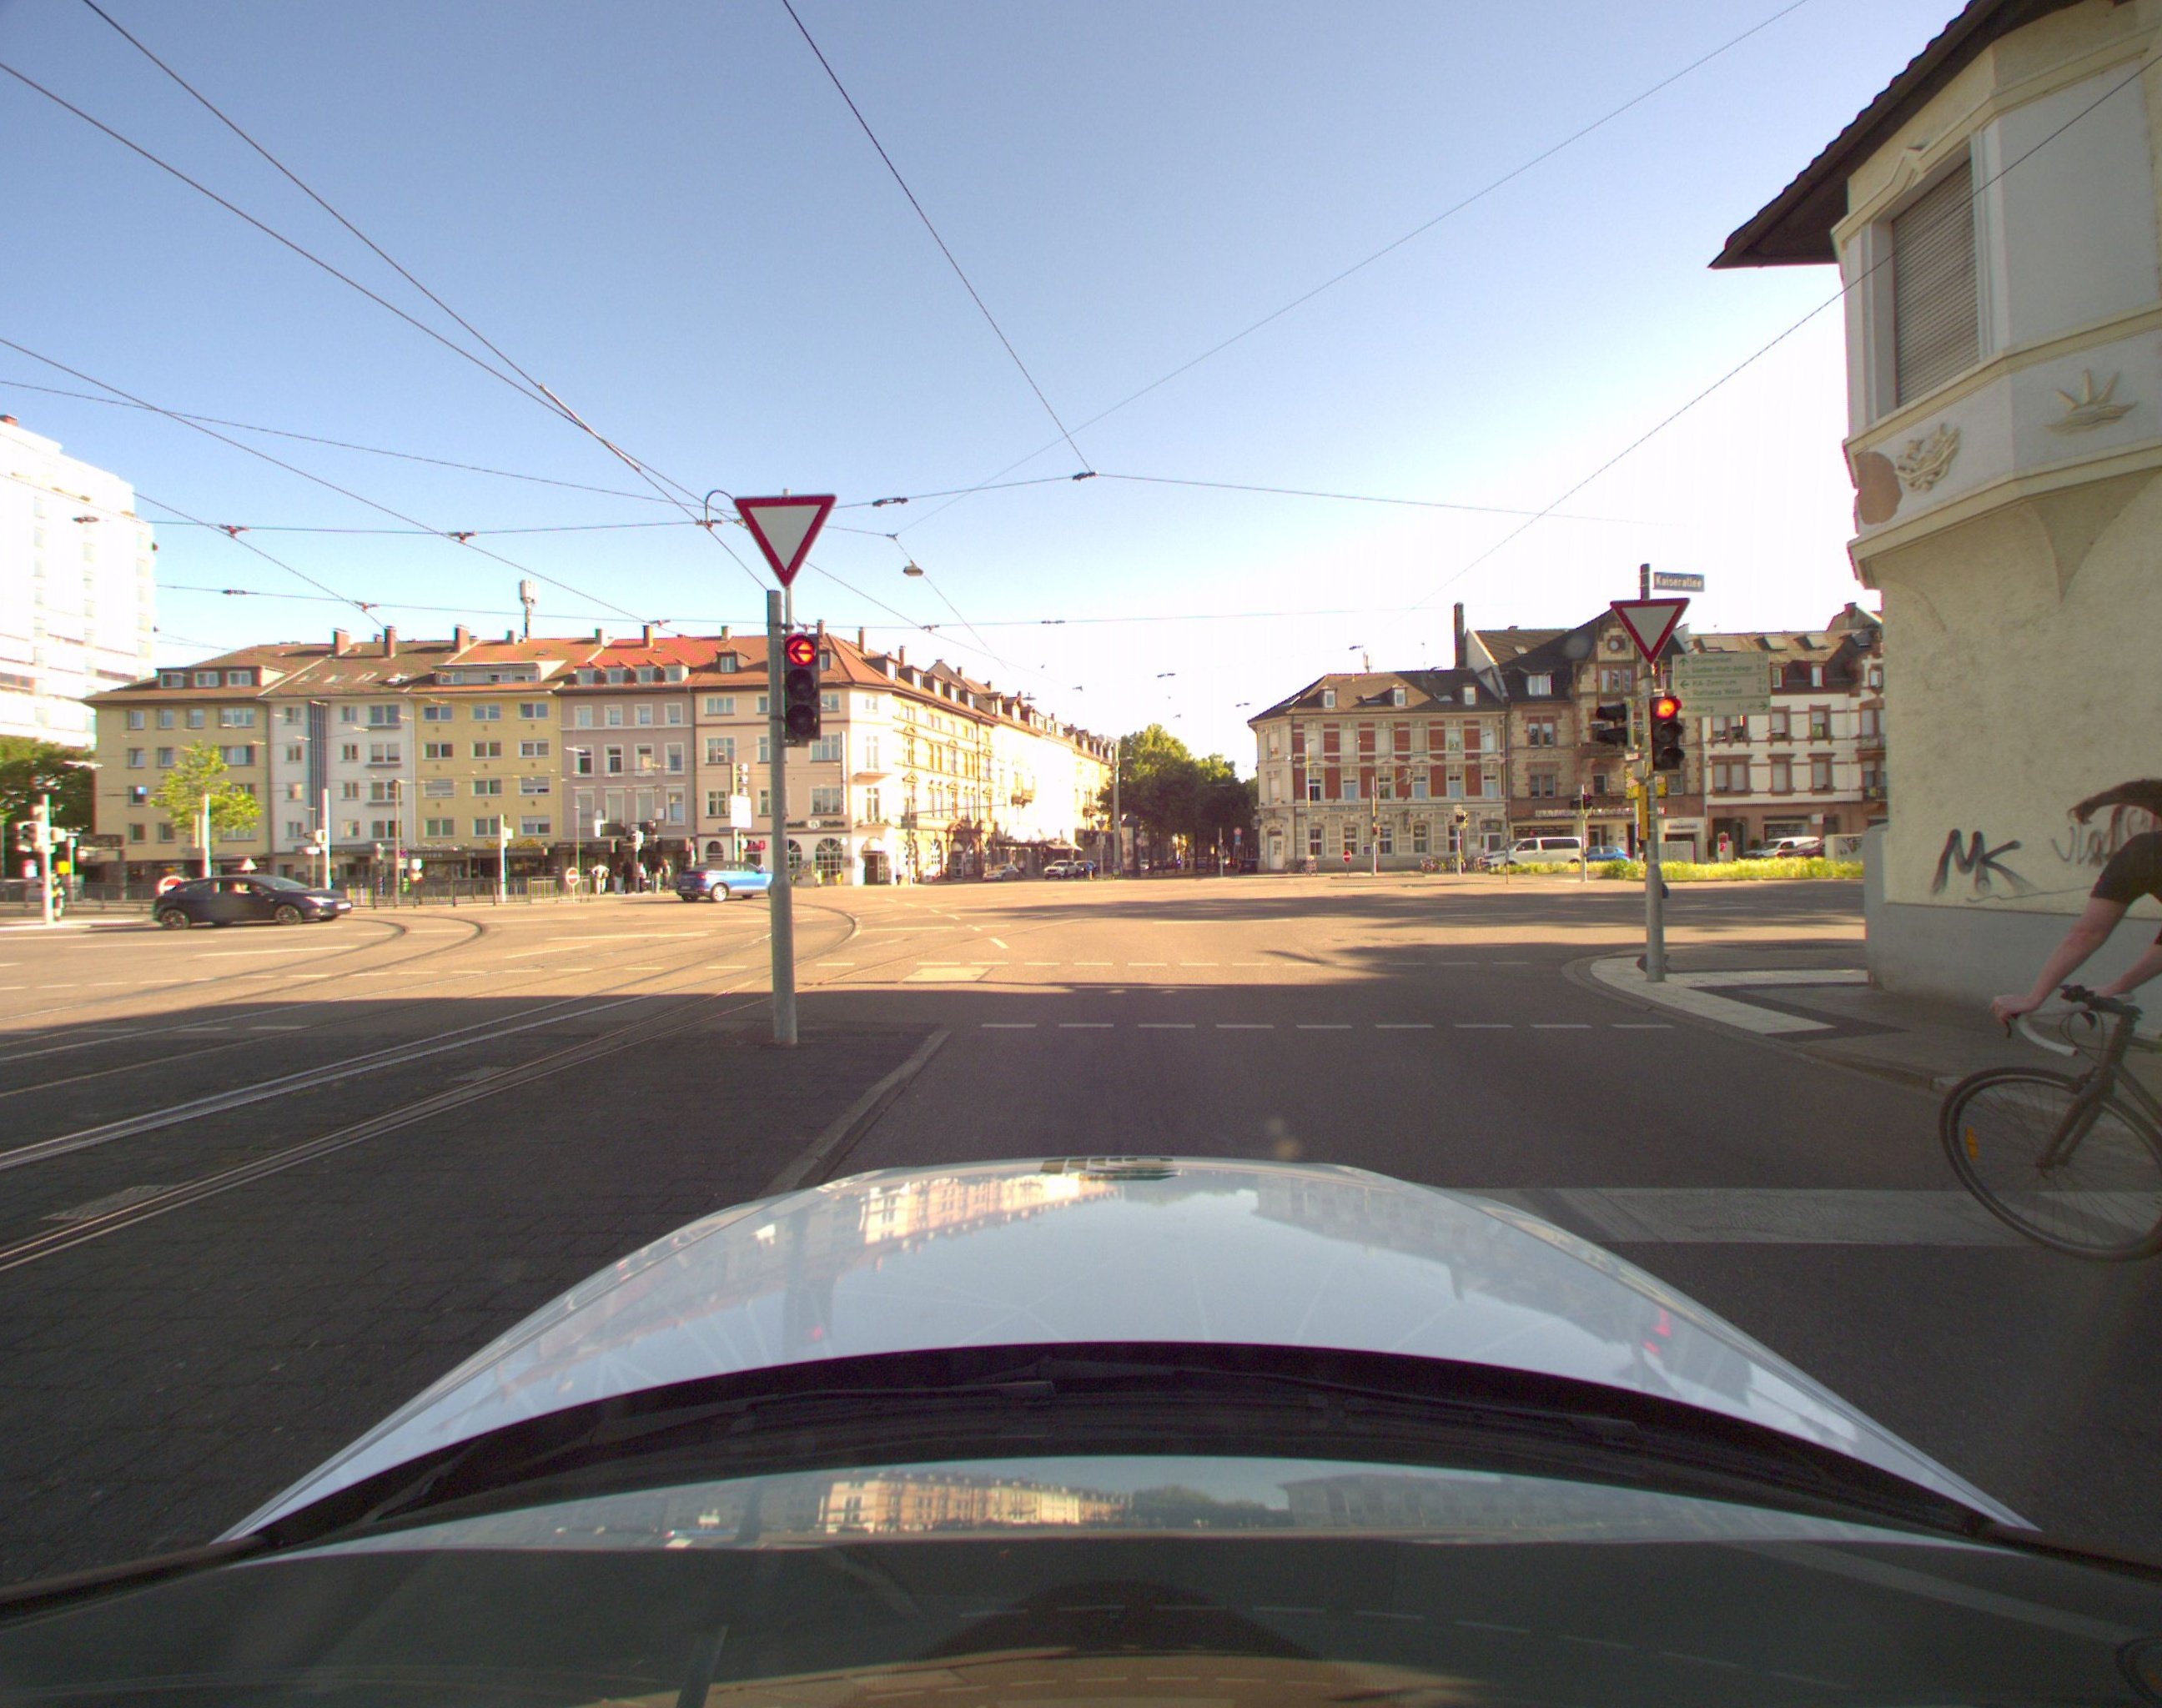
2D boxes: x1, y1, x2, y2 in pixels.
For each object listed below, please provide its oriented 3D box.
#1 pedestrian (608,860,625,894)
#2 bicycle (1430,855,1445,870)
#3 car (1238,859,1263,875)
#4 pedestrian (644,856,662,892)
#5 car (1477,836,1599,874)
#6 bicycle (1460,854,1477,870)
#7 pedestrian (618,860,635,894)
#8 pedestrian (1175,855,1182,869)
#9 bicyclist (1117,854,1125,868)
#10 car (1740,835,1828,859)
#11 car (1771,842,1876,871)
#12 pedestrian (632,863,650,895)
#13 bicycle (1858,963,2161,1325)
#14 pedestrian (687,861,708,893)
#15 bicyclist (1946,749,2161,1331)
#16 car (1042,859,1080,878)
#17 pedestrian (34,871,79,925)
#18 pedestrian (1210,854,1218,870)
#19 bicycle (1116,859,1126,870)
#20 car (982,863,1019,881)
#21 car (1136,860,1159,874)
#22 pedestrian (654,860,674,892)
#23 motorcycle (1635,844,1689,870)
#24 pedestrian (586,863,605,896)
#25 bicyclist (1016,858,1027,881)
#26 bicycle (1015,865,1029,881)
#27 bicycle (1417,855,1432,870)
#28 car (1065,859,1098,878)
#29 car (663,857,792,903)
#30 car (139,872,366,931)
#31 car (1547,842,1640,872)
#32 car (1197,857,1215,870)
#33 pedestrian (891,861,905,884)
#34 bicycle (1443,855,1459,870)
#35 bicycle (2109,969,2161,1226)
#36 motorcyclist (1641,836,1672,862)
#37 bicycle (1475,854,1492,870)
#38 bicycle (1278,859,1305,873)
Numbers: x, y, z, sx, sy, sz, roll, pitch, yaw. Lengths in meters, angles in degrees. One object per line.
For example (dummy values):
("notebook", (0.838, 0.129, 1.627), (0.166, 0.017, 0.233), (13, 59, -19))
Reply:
("pedestrian", (-23.188, 1.145, 40.667), (0.520, 1.648, 0.498), (0, -1, 1))
("bicycle", (23.256, 0.570, 53.090), (0.758, 0.968, 2.221), (-1, -1, 20))
("car", (17.122, 1.255, 82.236), (1.741, 1.556, 4.021), (-1, -1, 22))
("pedestrian", (-21.586, 0.992, 41.057), (0.525, 1.823, 0.677), (0, -1, 1))
("car", (23.487, 0.047, 41.985), (5.180, 1.854, 2.000), (-1, 0, 1))
("bicycle", (25.157, 0.542, 52.878), (0.758, 1.007, 2.231), (-1, -1, 20))
("pedestrian", (-22.577, 1.139, 40.461), (0.520, 1.648, 0.498), (0, -1, 1))
("pedestrian", (14.111, 1.210, 117.764), (0.936, 2.014, 0.830), (-1, -1, 16))
("bicyclist", (4.707, 0.844, 95.725), (0.668, 1.568, 0.751), (-1, -1, 20))
("car", (45.180, -0.441, 52.432), (3.961, 1.438, 1.874), (0, -1, 5))
("car", (37.850, 0.116, 41.556), (3.854, 1.426, 1.596), (-1, 0, 2))
("pedestrian", (-22.882, 1.301, 42.362), (0.571, 1.648, 0.727), (0, -1, 1))
("bicycle", (3.580, 0.960, 2.624), (0.480, 0.991, 1.783), (0, -1, 2))
("pedestrian", (-19.832, 1.177, 42.091), (0.666, 1.594, 0.815), (0, -1, 1))
("bicyclist", (3.576, 0.566, 2.614), (0.587, 1.767, 0.936), (0, -1, 2))
("car", (-1.606, 1.179, 67.452), (1.788, 1.585, 4.179), (-1, -1, 19))
("pedestrian", (-31.527, 1.332, 25.067), (0.770, 1.609, 0.605), (0, -1, -44))
("pedestrian", (16.662, 1.033, 102.105), (0.957, 2.014, 0.919), (0, -1, 3))
("bicycle", (4.710, 1.231, 95.718), (0.668, 1.207, 1.831), (-1, -1, 20))
("car", (-6.602, 1.476, 67.352), (1.647, 1.374, 3.909), (-1, -1, 17))
("car", (7.794, 1.516, 95.465), (1.788, 1.575, 3.908), (-1, -1, 17))
("pedestrian", (-21.552, 1.136, 42.050), (0.580, 1.648, 0.840), (0, -1, 1))
("motorcycle", (29.480, 0.159, 41.343), (2.122, 1.333, 0.799), (-1, -1, 10))
("pedestrian", (-25.097, 1.306, 42.094), (0.582, 1.648, 0.616), (0, -1, 1))
("bicyclist", (-4.775, 1.227, 65.384), (0.561, 1.804, 0.918), (-1, -1, 17))
("bicycle", (-4.721, 1.505, 65.522), (0.561, 1.254, 1.564), (-1, -1, 17))
("bicycle", (22.500, 0.577, 53.357), (0.758, 0.963, 2.221), (-1, -1, 20))
("car", (0.067, 1.291, 73.774), (1.809, 1.685, 3.893), (-1, -1, 18))
("car", (-13.371, 0.936, 31.046), (1.808, 1.575, 4.225), (-1, 0, 30))
("car", (-22.787, 1.265, 22.582), (3.993, 1.403, 1.823), (-1, 0, -14))
("car", (28.324, 0.178, 45.114), (3.970, 1.622, 1.806), (0, -1, 3))
("car", (17.879, 1.352, 116.370), (1.978, 1.684, 4.018), (-1, -1, 17))
("pedestrian", (-13.066, 1.318, 58.221), (0.562, 1.642, 0.797), (-1, -1, 25))
("bicycle", (24.042, 0.563, 52.966), (0.758, 0.983, 2.221), (-1, -1, 20))
("bicycle", (4.451, 0.957, 2.445), (0.501, 0.983, 1.783), (0, -1, 2))
("motorcyclist", (29.243, -0.245, 41.391), (1.008, 1.300, 0.791), (-1, -1, 10))
("bicycle", (26.016, 0.533, 52.677), (0.785, 1.016, 2.221), (-1, -1, 20))
("bicycle", (14.704, 0.829, 56.918), (1.789, 0.963, 0.606), (-1, -1, 16))
